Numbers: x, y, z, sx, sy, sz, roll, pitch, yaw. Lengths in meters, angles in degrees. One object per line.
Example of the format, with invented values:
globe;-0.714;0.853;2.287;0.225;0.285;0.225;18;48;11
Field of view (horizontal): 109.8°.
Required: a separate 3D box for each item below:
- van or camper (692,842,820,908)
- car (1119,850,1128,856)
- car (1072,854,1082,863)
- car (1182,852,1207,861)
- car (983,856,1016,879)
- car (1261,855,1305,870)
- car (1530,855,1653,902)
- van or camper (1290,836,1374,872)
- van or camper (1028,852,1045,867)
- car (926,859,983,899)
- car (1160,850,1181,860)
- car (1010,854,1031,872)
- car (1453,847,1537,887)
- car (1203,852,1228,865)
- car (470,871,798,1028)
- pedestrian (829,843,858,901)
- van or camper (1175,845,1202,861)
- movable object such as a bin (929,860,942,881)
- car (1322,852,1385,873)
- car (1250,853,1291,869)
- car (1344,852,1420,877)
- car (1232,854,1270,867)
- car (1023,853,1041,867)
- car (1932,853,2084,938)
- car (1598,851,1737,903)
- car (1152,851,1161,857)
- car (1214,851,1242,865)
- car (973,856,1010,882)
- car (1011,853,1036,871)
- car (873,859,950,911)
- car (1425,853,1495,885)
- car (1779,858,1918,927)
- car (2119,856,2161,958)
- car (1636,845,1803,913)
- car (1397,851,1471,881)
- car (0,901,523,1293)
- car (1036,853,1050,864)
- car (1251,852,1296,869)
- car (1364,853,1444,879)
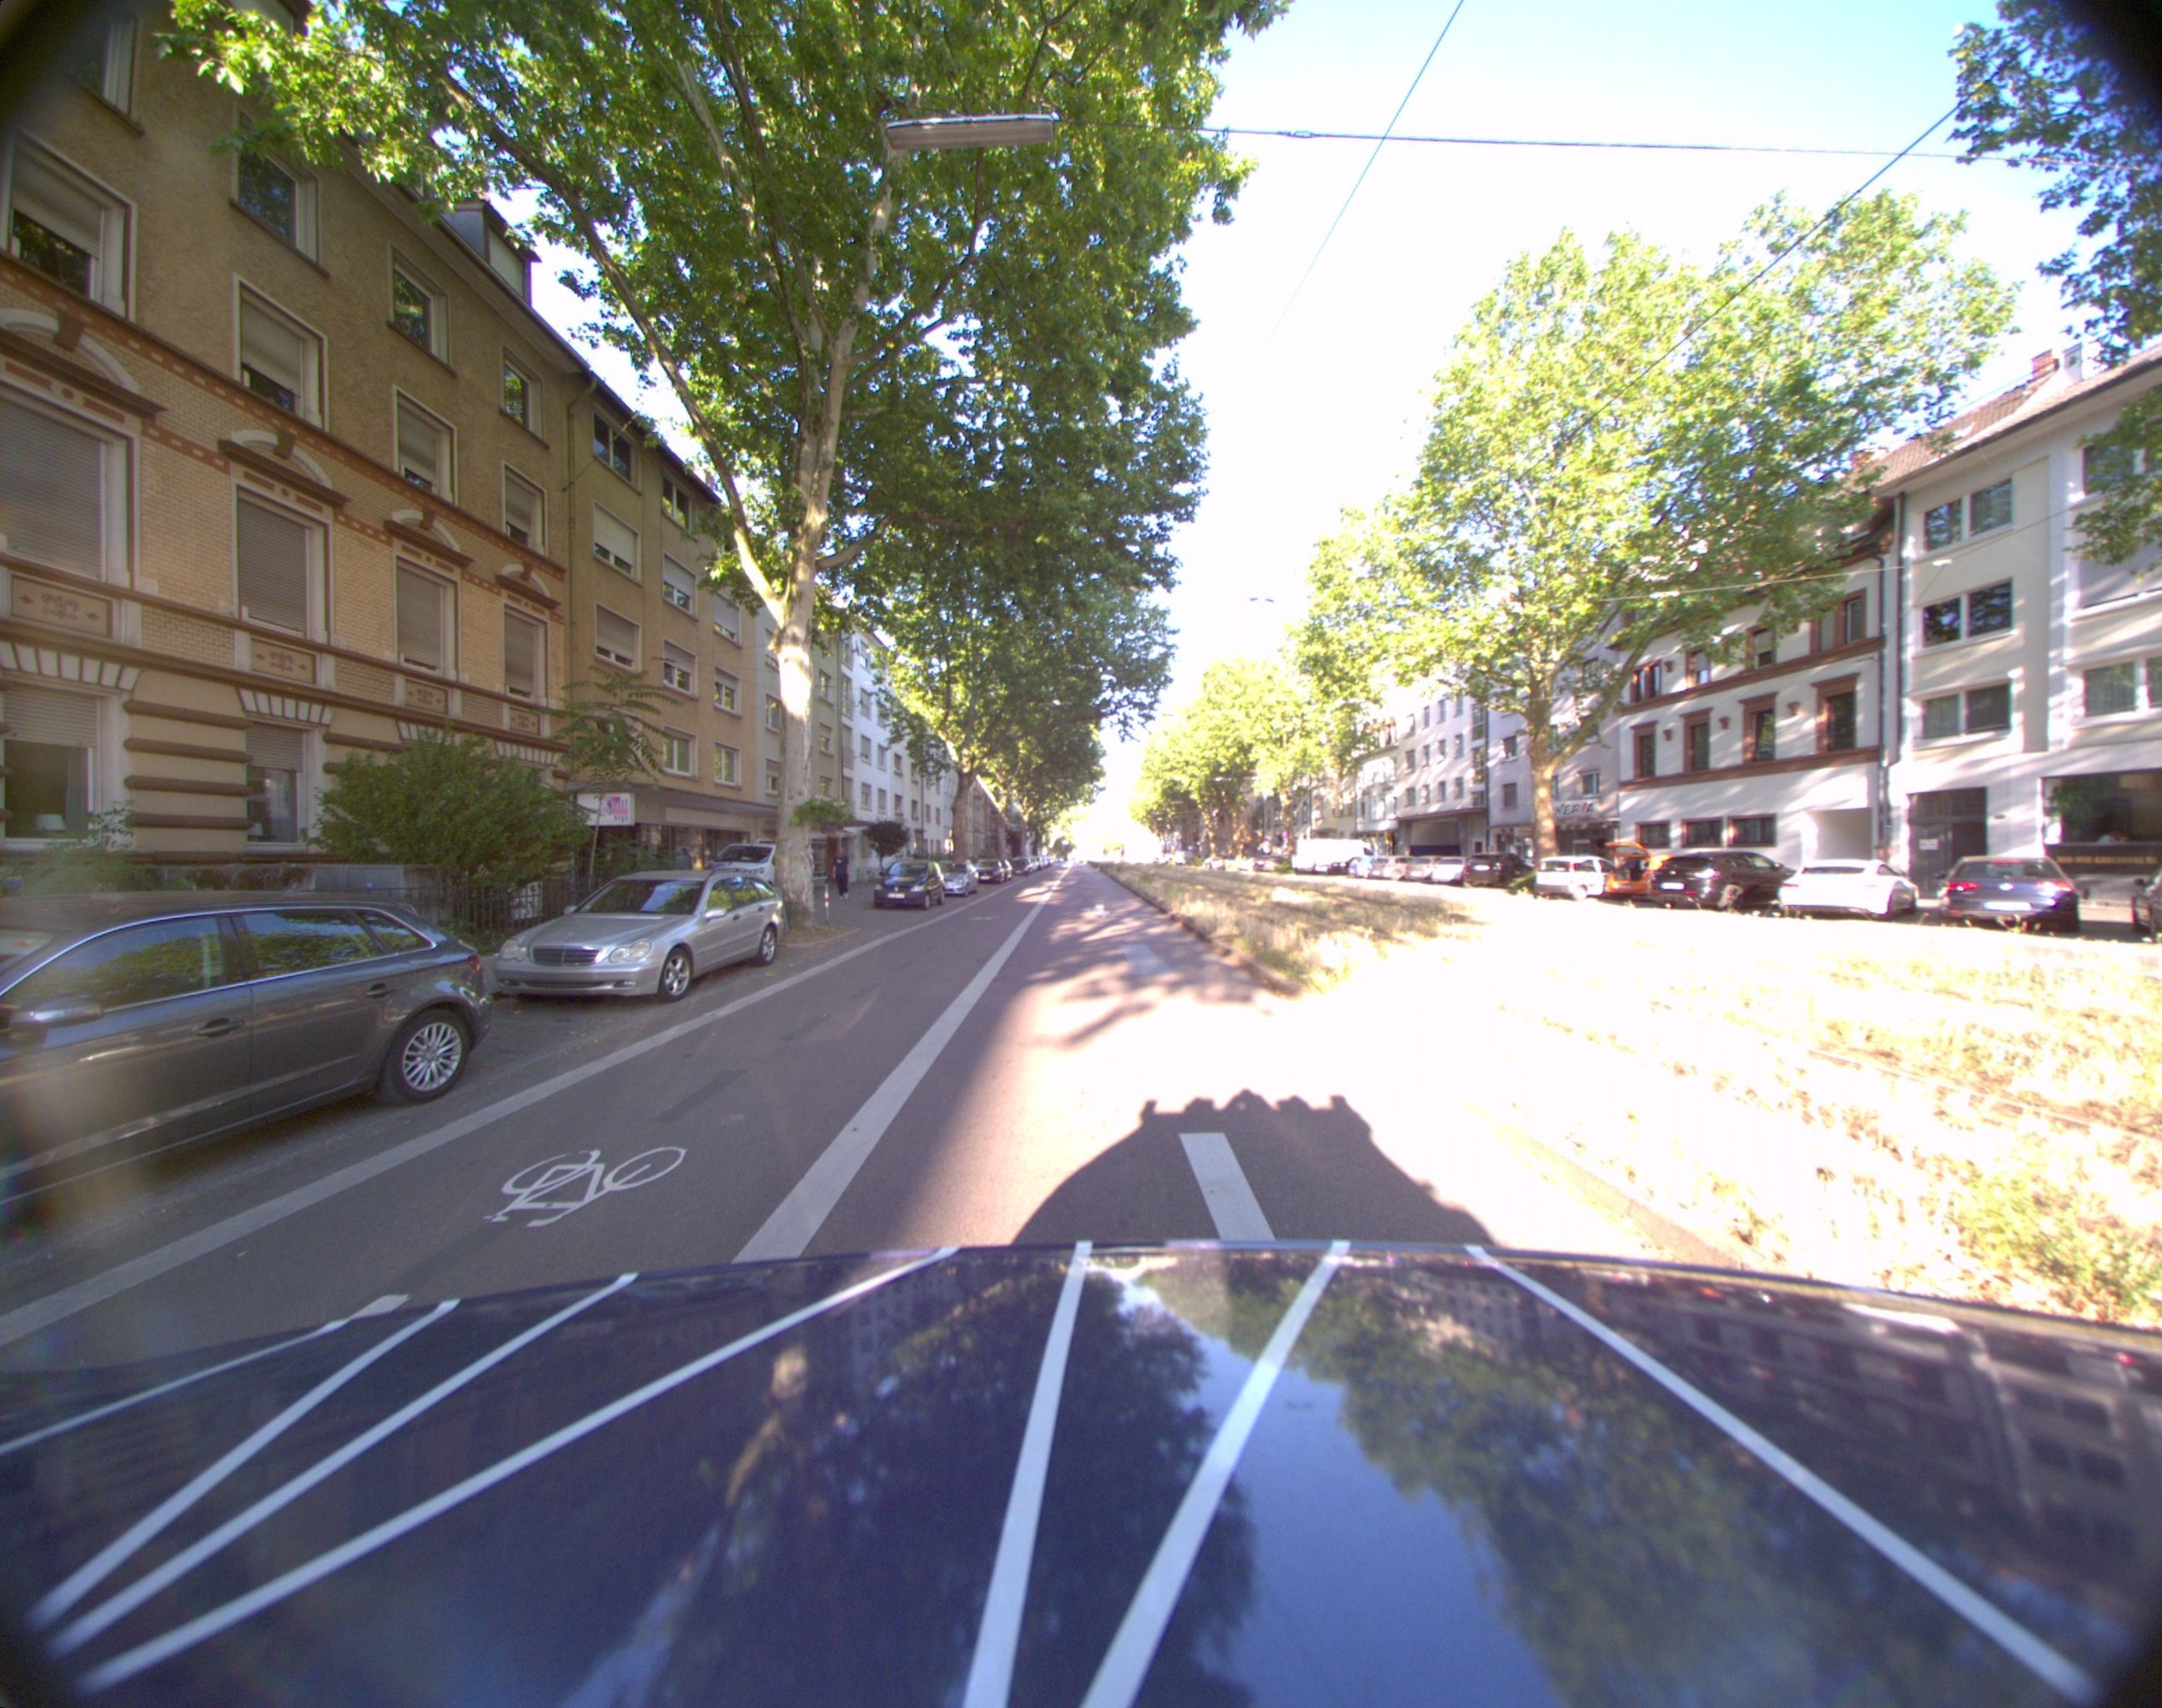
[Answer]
van or camper;-10.439;0.609;24.961;1.947;1.911;5.390;0;0;-1
car;11.561;-0.201;204.490;1.997;1.477;4.002;-2;1;8
car;-0.730;0.837;144.906;1.893;1.501;4.000;-2;1;1
car;18.968;0.438;127.204;4.006;1.240;1.726;-4;2;-34
car;-5.406;0.863;50.572;1.713;1.407;4.363;2;1;0
car;18.694;0.747;70.269;4.014;1.349;1.797;1;0;-37
car;18.037;0.805;26.822;4.369;1.440;1.655;-2;1;-26
van or camper;18.978;-0.005;57.460;5.974;2.631;2.175;-1;0;-20
van or camper;-5.417;0.639;92.709;1.790;1.710;4.379;1;0;1
car;-5.313;1.015;32.483;1.699;1.533;4.776;0;0;-1
car;18.308;0.190;154.814;4.007;2.002;1.994;-3;1;-42
car;-5.286;0.772;66.492;1.748;1.455;4.024;0;0;-5
car;18.682;0.571;34.241;4.008;1.651;1.995;-1;0;-41
car;15.041;0.447;85.143;1.825;1.382;4.483;2;0;-1
car;-5.344;1.016;9.934;1.678;1.443;4.570;0;0;-2
pedestrian;-8.336;0.624;26.689;0.684;2.002;1.012;0;1;-2
van or camper;18.355;-0.129;129.726;4.371;2.386;2.196;-4;2;-40
movable object such as a bin;-8.343;0.938;43.488;0.617;1.152;0.665;0;1;-3
car;19.702;0.602;54.952;4.004;1.482;1.996;0;0;-22
car;19.214;0.727;76.936;4.008;1.524;1.821;1;-1;-36
car;18.963;0.637;47.991;3.998;1.412;1.857;-2;1;-4
car;18.204;0.699;81.440;3.687;1.382;1.822;-1;0;-31
car;-5.551;0.676;86.410;1.702;1.517;4.194;0;0;0
car;19.360;0.783;16.035;4.007;1.433;1.797;-3;1;-43
car;19.496;0.731;25.272;4.003;1.471;1.774;-3;1;-20
car;20.101;0.072;202.913;1.998;1.412;4.000;-2;1;2
car;18.826;0.527;97.414;1.726;1.643;4.009;-1;-1;40
car;-5.320;0.862;45.682;1.713;1.407;4.363;2;1;0
car;-5.488;0.712;73.268;1.999;1.557;4.663;2;1;0
car;-5.429;0.941;24.727;1.658;1.536;3.999;0;0;-1
car;18.917;0.723;37.887;4.008;1.377;1.907;-2;0;-45
car;18.649;0.863;18.412;4.212;1.325;1.718;-3;1;-36
car;19.055;0.830;12.694;4.007;1.433;1.717;-3;1;-41
car;18.296;0.688;21.760;4.370;1.776;1.989;1;1;-26
car;19.059;0.627;40.959;4.006;1.414;1.752;-3;1;-34
car;-5.183;1.068;3.667;1.714;1.388;4.321;0;0;1
car;-5.492;0.636;109.732;1.790;1.609;3.829;1;0;0
car;18.640;0.646;73.556;4.169;1.583;1.931;2;-1;-36
car;19.169;0.685;45.090;4.002;1.483;1.948;0;0;-13
